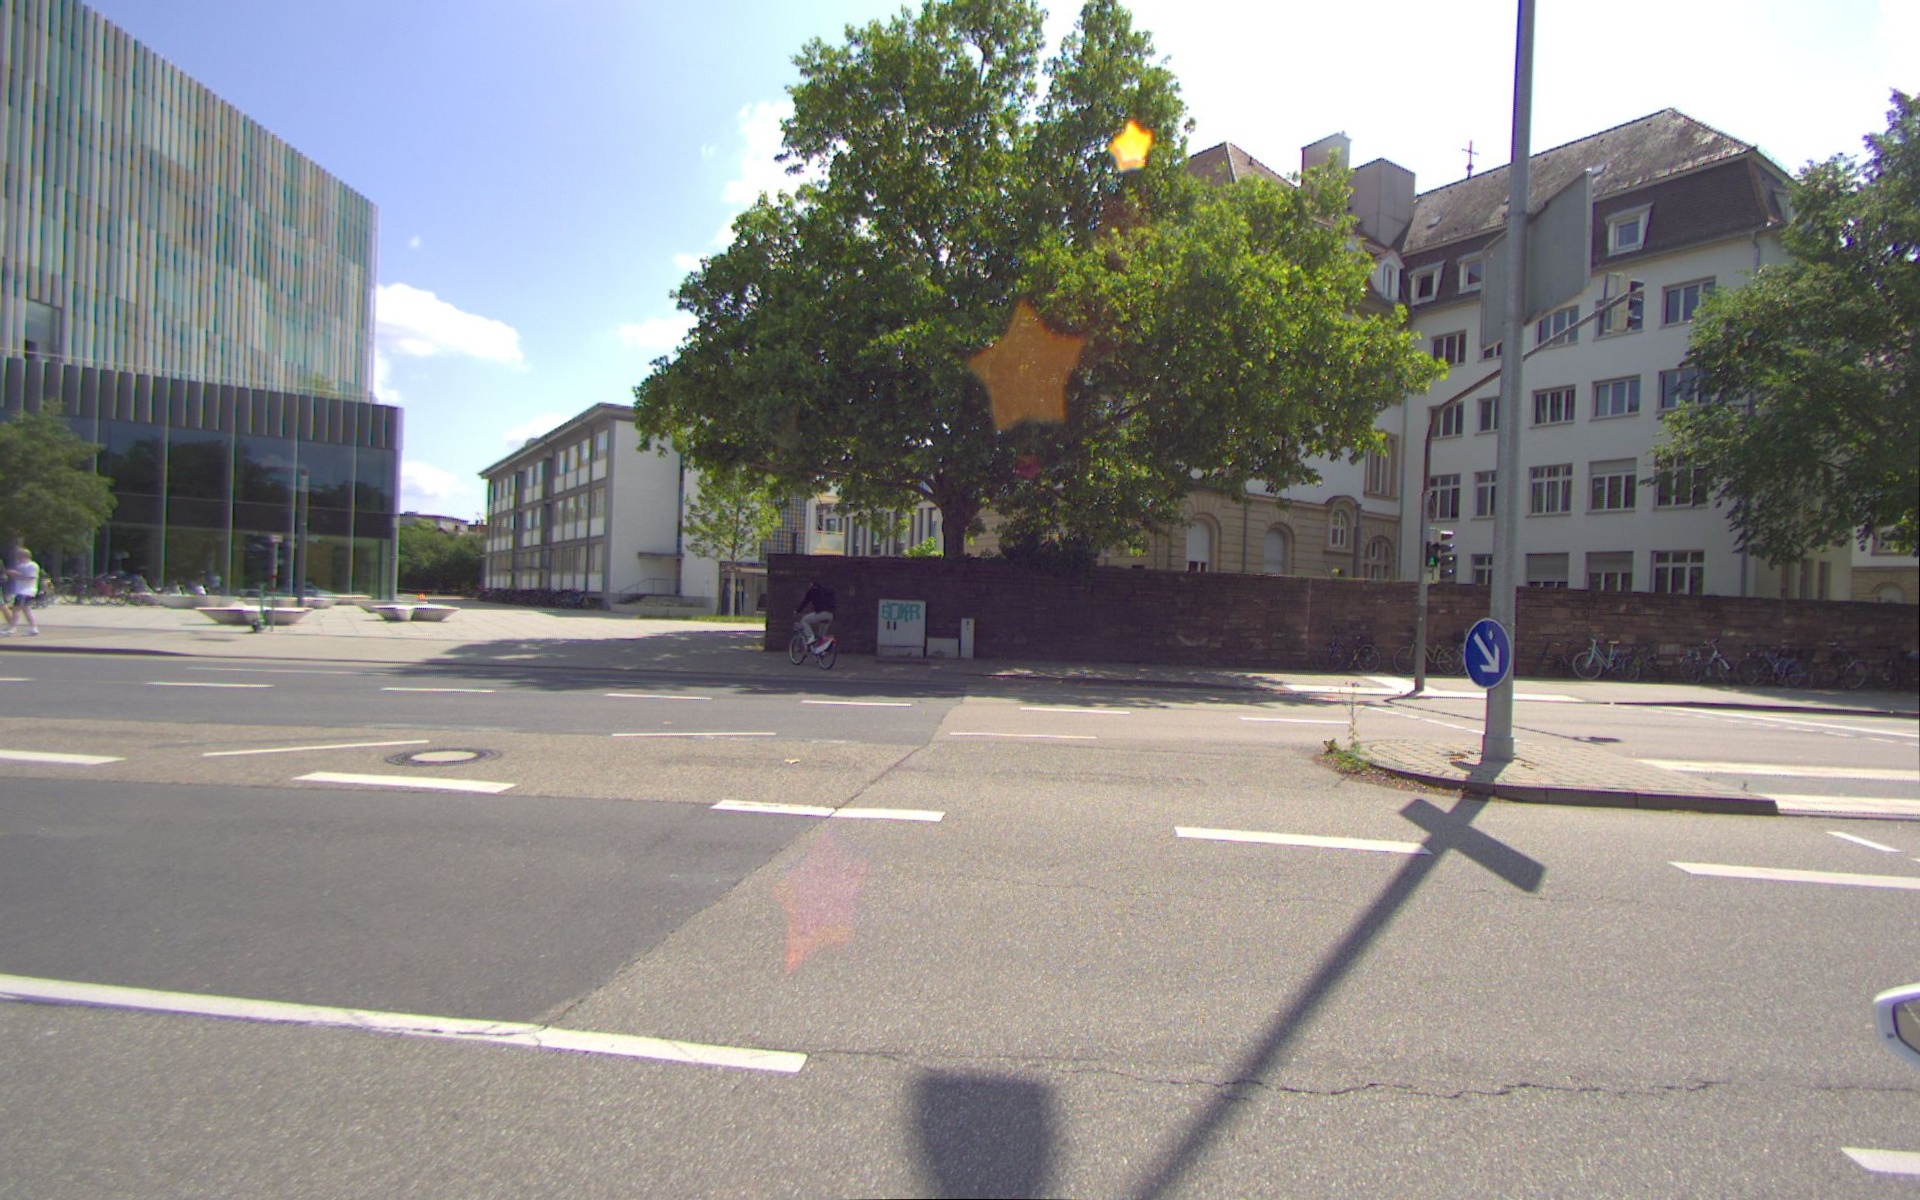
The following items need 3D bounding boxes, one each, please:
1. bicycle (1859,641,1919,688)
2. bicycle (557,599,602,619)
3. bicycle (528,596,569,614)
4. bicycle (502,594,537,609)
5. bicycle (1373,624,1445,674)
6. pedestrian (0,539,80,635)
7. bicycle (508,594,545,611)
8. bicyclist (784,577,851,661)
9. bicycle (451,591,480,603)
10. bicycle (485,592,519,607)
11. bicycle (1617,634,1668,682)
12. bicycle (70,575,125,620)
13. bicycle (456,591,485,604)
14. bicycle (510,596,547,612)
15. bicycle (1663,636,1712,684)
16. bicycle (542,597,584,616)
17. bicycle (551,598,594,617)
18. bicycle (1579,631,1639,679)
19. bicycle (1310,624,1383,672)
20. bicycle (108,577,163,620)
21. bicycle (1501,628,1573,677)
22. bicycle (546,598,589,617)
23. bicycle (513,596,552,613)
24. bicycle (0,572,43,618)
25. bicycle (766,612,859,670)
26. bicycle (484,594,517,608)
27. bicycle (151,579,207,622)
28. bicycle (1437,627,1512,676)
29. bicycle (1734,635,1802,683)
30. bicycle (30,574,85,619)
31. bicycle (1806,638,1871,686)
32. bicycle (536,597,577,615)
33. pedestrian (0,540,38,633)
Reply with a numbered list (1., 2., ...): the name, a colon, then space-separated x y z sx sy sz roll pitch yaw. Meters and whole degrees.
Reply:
1. bicycle: 24.153 1.670 26.071 1.570 1.168 0.531 2 0 -19
2. bicycle: -21.157 0.484 55.878 2.222 1.030 0.646 2 0 -31
3. bicycle: -25.331 0.330 61.828 2.222 1.030 0.646 2 0 -31
4. bicycle: -31.022 0.107 70.747 2.222 1.030 0.646 2 0 -31
5. bicycle: 11.102 1.211 24.841 1.564 1.168 0.500 2 0 -6
6. pedestrian: -19.398 -0.262 21.039 0.953 1.951 1.108 2 0 25
7. bicycle: -29.205 0.175 67.719 2.222 1.030 0.646 2 0 -31
8. bicyclist: -2.965 0.385 20.836 1.091 1.690 0.783 2 0 36
9. bicycle: -44.121 -0.247 89.625 2.222 1.030 0.646 2 0 -31
10. bicycle: -34.559 -0.022 75.794 2.222 1.030 0.646 2 0 -31
11. bicycle: 17.157 1.460 25.229 1.576 1.168 0.399 2 0 -31
12. bicycle: -32.527 -0.111 37.837 3.363 1.572 0.995 2 0 40
13. bicycle: -42.516 -0.204 87.212 2.222 1.030 0.646 2 0 -31
14. bicycle: -28.753 0.276 66.972 2.222 1.030 0.646 2 0 -31
15. bicycle: 18.342 1.518 25.317 1.576 1.168 0.399 2 0 -31
16. bicycle: -23.249 0.406 58.837 2.222 1.030 0.646 2 0 -31
17. bicycle: -21.964 0.435 56.967 2.222 1.030 0.646 2 0 -31
18. bicycle: 16.447 1.391 25.446 1.570 1.168 0.401 2 0 -21
19. bicycle: 9.479 1.184 24.660 1.564 1.113 0.573 2 0 -6
20. bicycle: -31.796 -0.076 38.716 3.363 1.572 0.995 2 0 40
21. bicycle: 14.542 1.314 25.319 1.563 1.168 0.413 2 0 -3
22. bicycle: -22.618 0.431 57.895 2.222 1.030 0.646 2 0 -31
23. bicycle: -28.014 0.303 65.839 2.222 1.030 0.646 2 0 -31
24. bicycle: -34.206 -0.204 36.361 3.363 1.572 0.995 2 0 40
25. bicycle: -3.081 0.832 20.922 1.865 1.077 0.814 2 0 37
26. bicycle: -35.066 0.065 76.656 2.222 1.030 0.646 2 0 -31
27. bicycle: -30.172 0.002 38.774 3.363 1.572 0.995 2 0 40
28. bicycle: 12.799 1.277 25.004 1.564 1.168 0.622 2 0 -6
29. bicycle: 20.712 1.520 25.756 1.565 1.168 0.402 2 0 -9
30. bicycle: -33.419 -0.160 37.168 3.363 1.572 0.995 2 0 40
31. bicycle: 22.429 1.584 25.650 1.570 1.168 0.531 2 0 -19
32. bicycle: -24.365 0.367 60.704 2.222 1.030 0.646 2 0 -31
33. pedestrian: -20.659 -0.303 21.467 0.954 1.951 1.108 2 0 28
